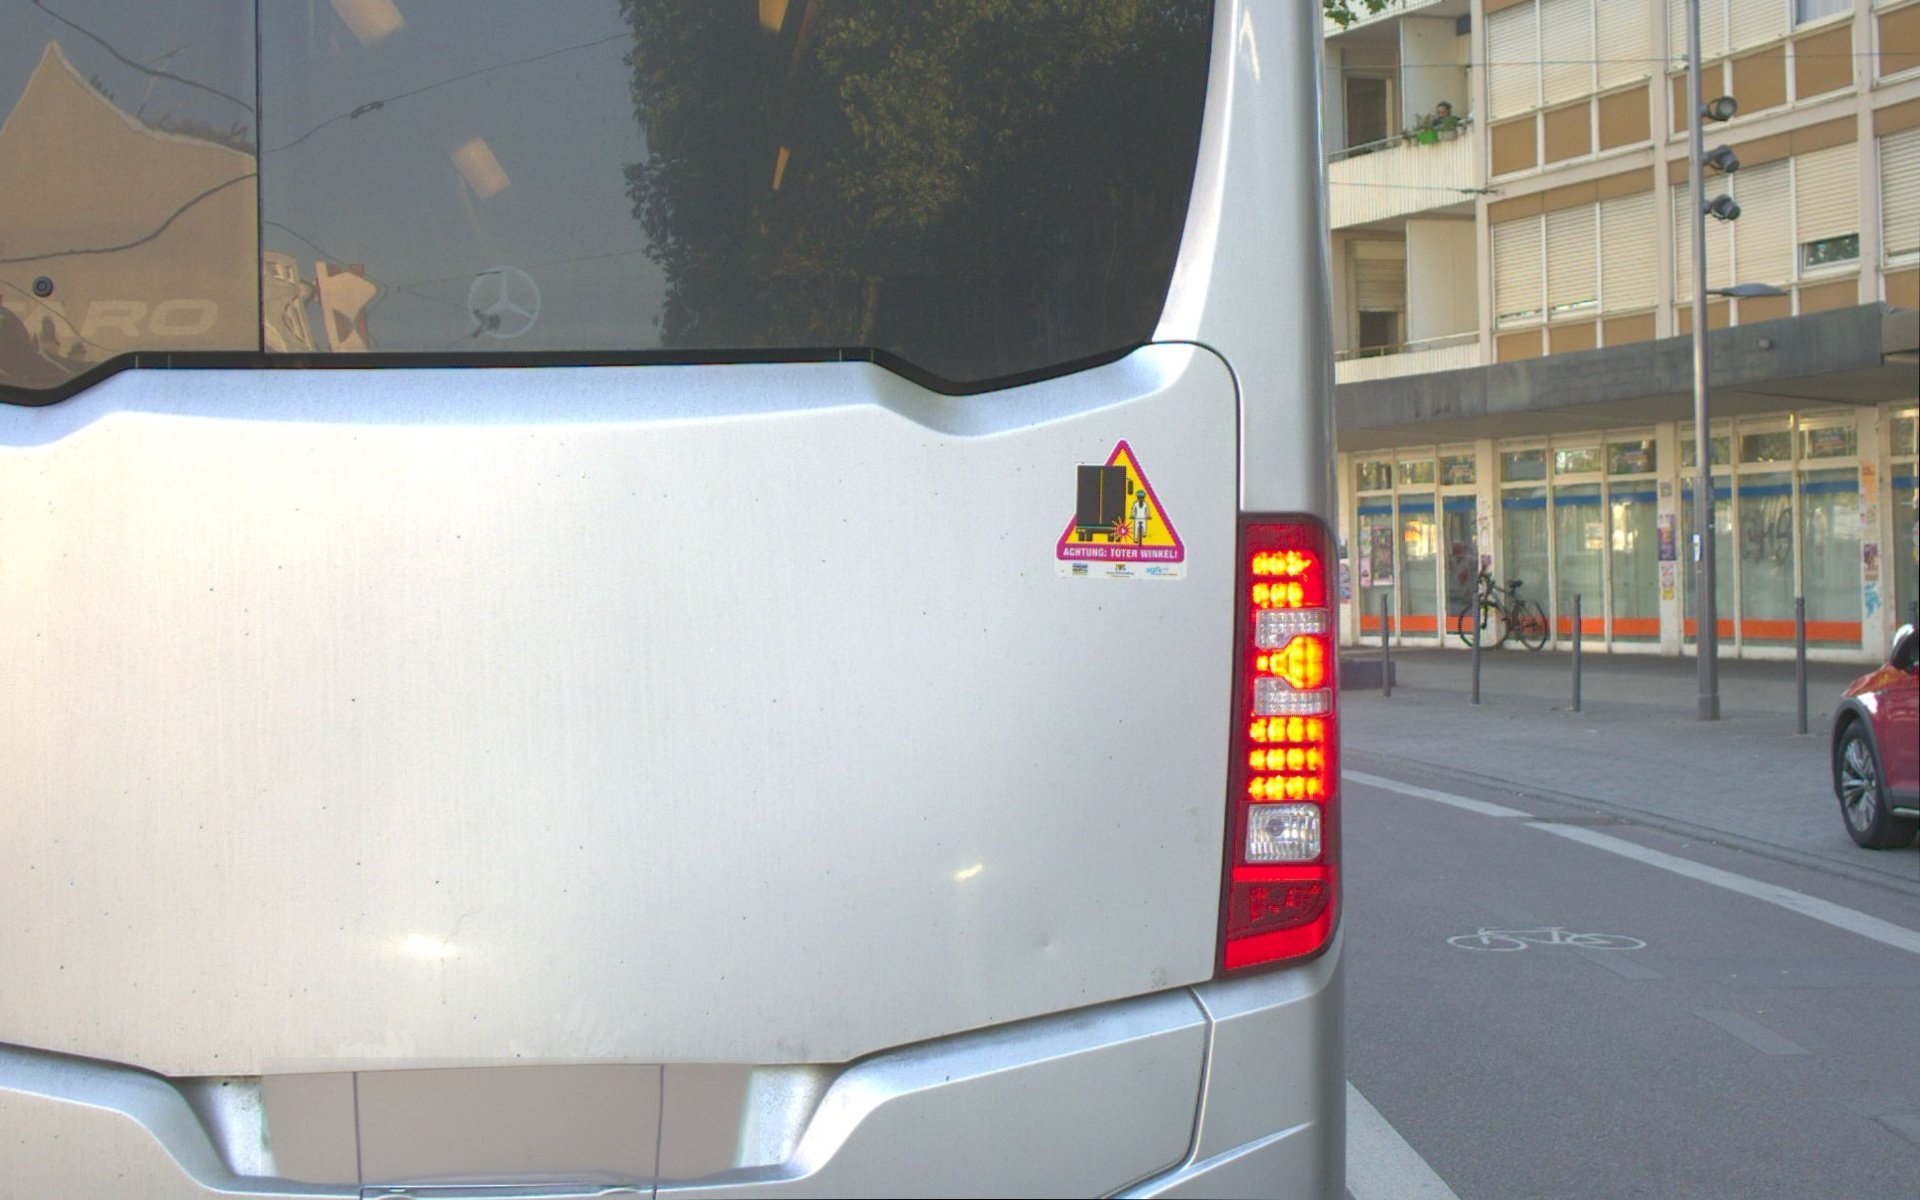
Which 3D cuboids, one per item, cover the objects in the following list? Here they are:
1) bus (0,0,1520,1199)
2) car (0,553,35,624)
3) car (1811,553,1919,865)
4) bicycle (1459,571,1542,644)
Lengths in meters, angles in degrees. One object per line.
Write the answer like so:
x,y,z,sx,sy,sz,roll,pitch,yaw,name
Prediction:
-0.733,-0.139,9.795,2.630,3.017,9.998,0,1,-2,bus
-25.486,-0.318,87.907,1.994,1.785,3.998,1,0,-41,car
5.515,0.508,15.872,1.769,1.477,4.304,-2,1,-4,car
7.163,0.093,45.608,0.412,0.941,1.441,-1,1,-20,bicycle
